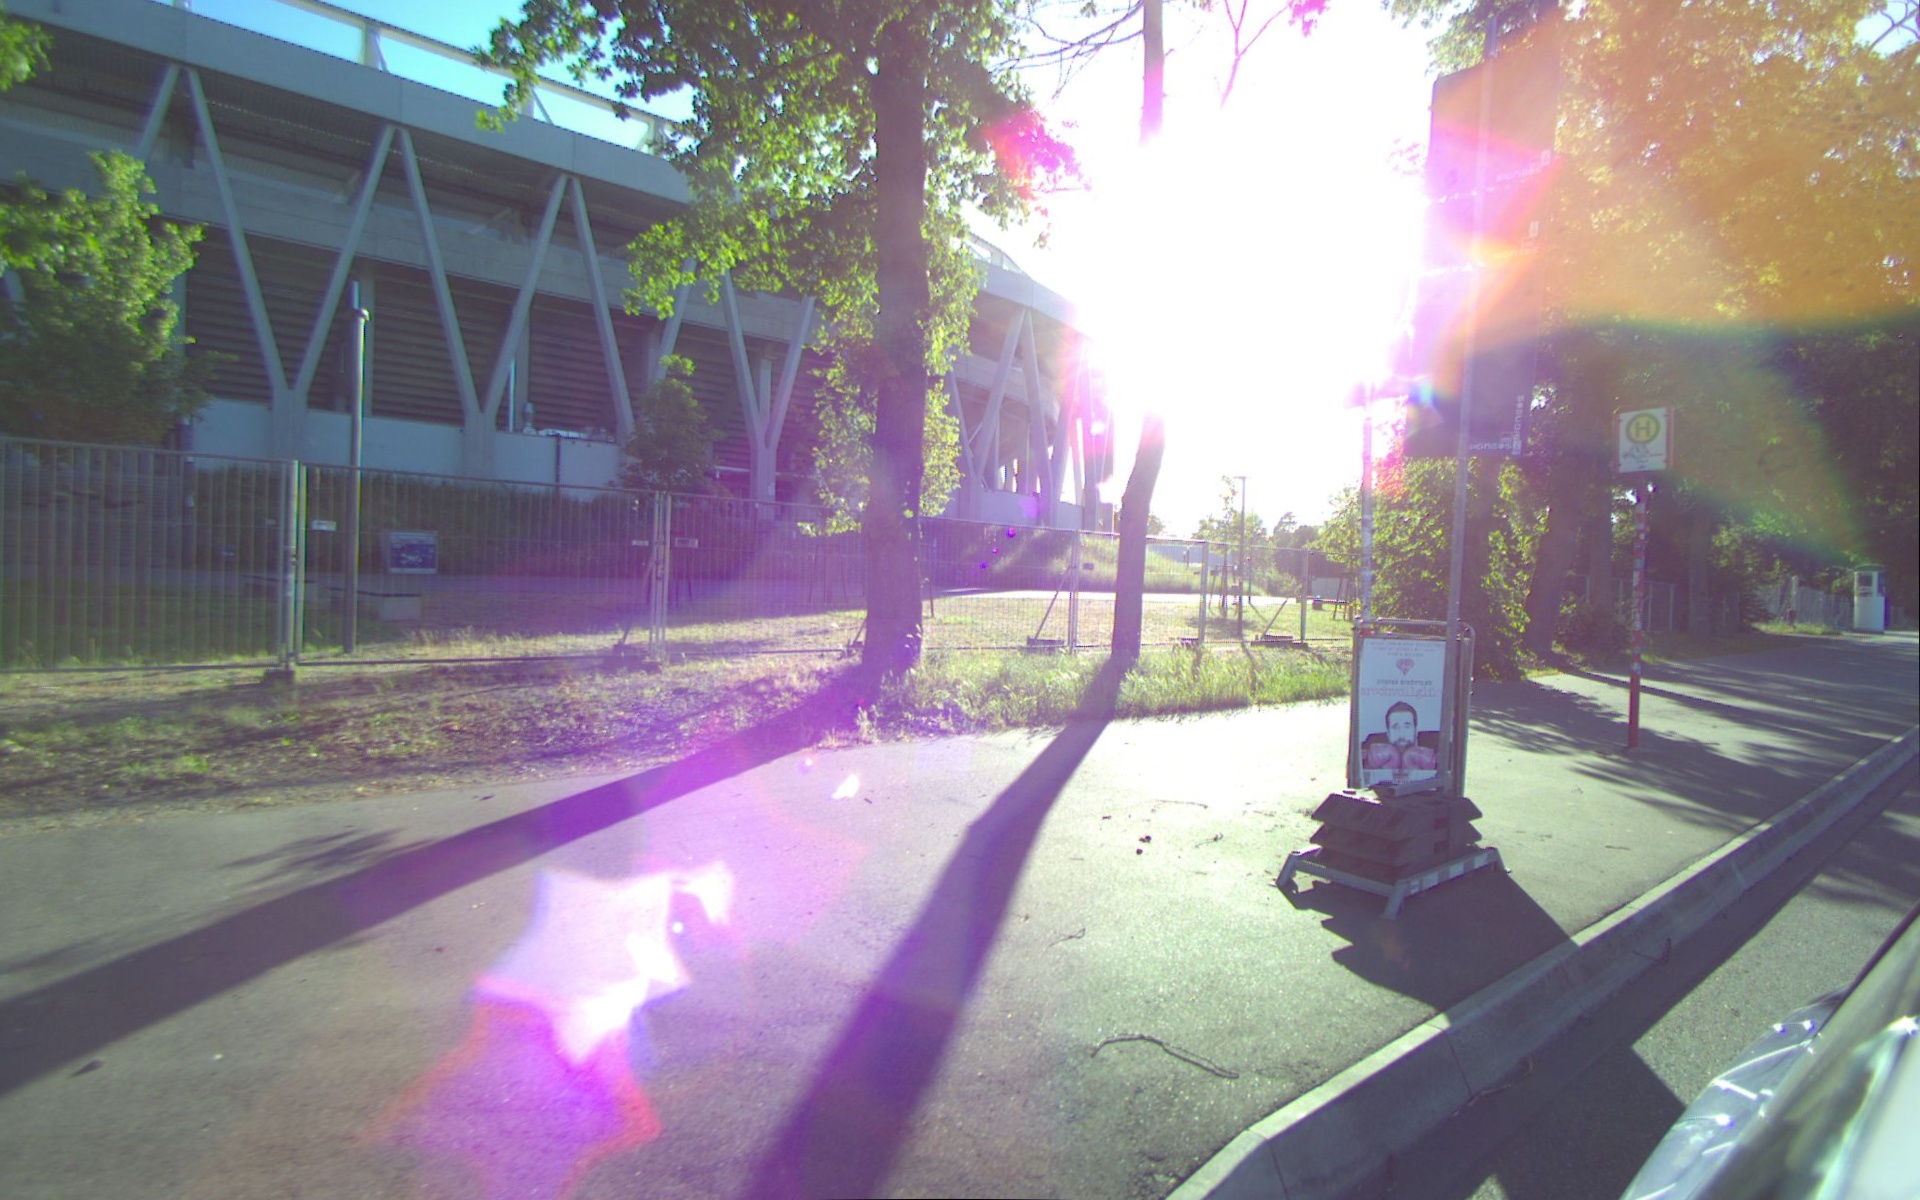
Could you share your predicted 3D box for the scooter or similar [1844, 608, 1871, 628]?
[{"bbox_3d":[58.714,1.178,66.235,1.281,1.253,0.334,2,0,13],"label":"scooter or similar"}]
